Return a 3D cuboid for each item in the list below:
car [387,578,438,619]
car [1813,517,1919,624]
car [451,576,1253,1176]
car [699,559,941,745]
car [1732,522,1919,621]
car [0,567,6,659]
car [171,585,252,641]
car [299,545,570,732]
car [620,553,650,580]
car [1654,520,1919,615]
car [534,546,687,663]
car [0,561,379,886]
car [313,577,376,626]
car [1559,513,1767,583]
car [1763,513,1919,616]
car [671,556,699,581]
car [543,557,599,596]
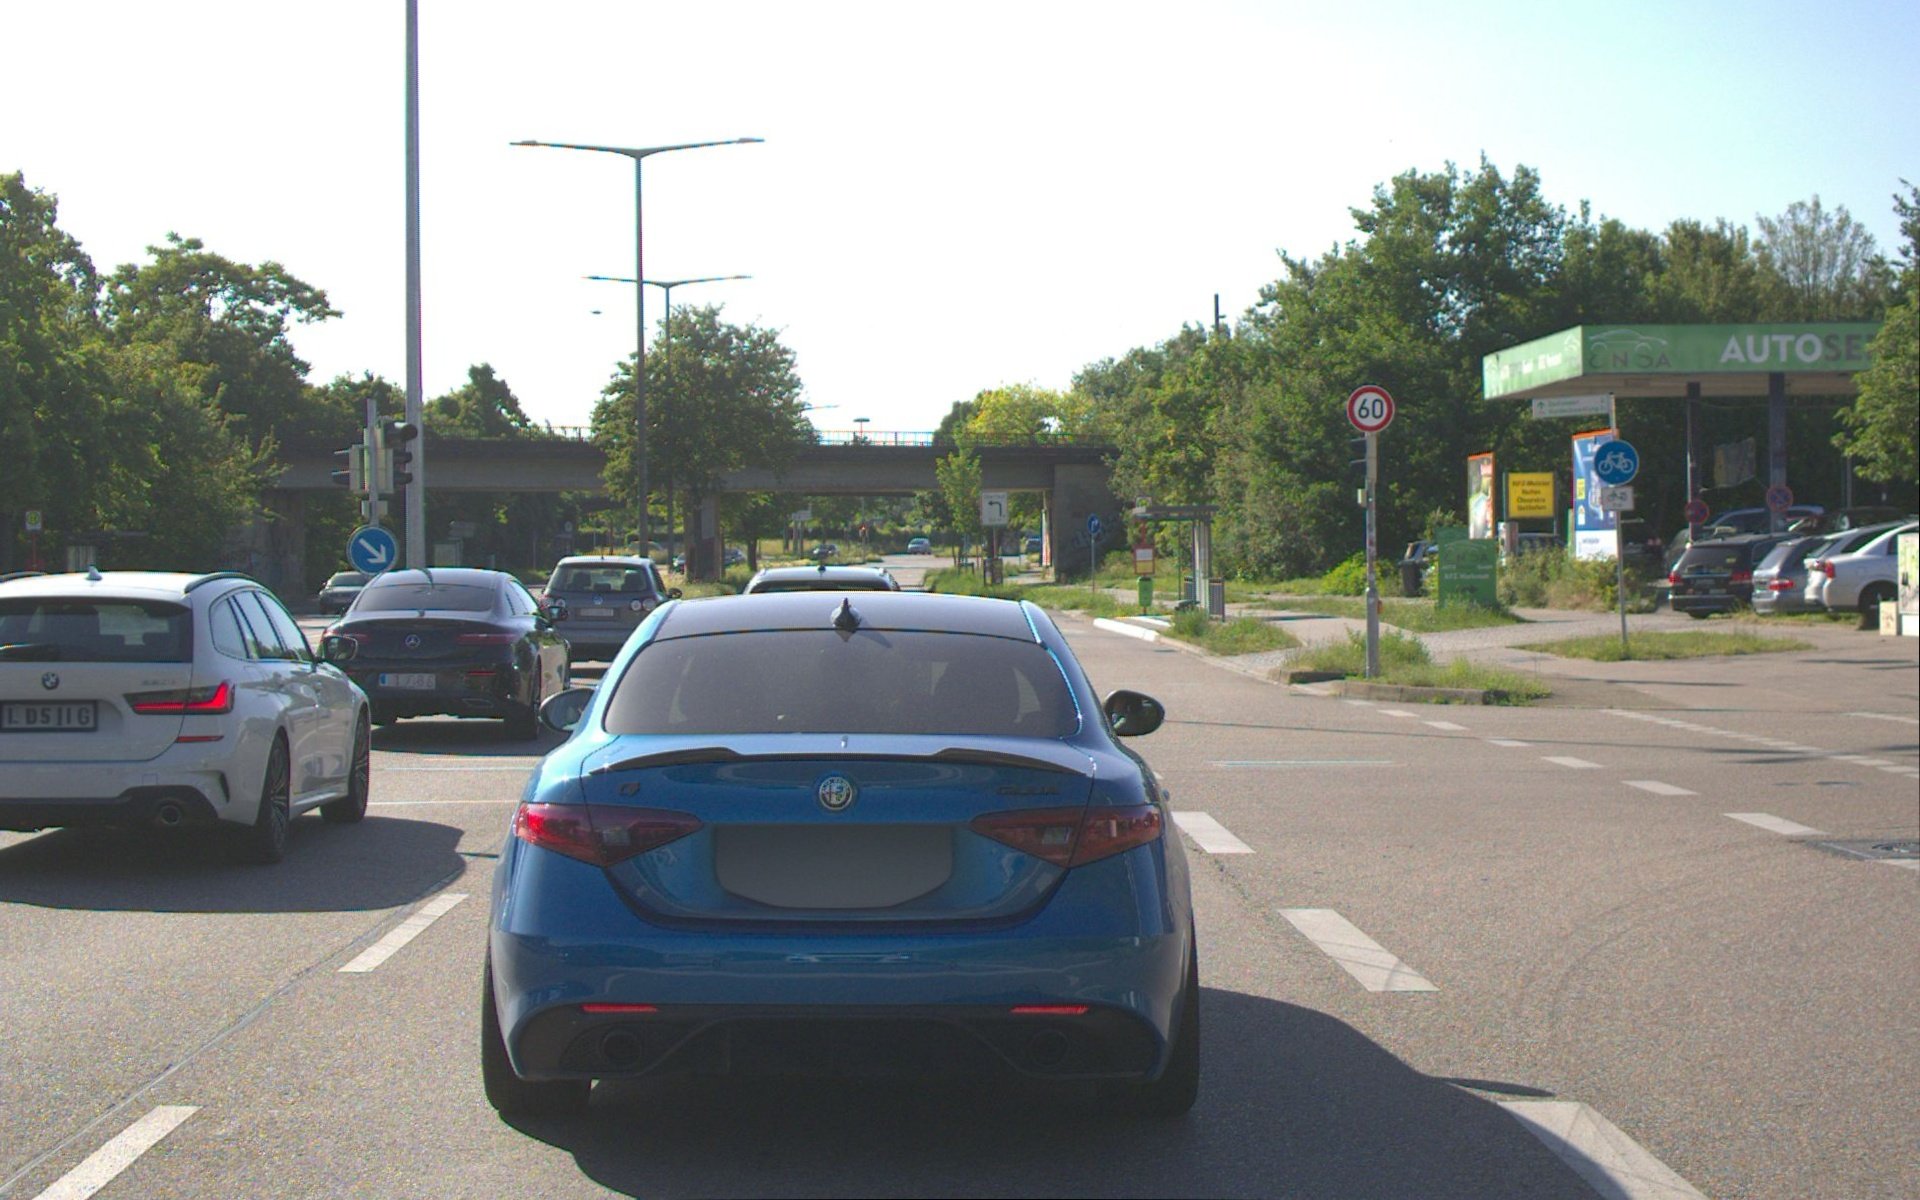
[{"bbox_3d":[-22.579,-0.067,141.818,1.609,1.641,3.463,1,0,-1],"label":"car"},{"bbox_3d":[14.668,-0.489,49.077,4.489,1.449,1.858,-2,0,1],"label":"car"},{"bbox_3d":[-0.329,0.656,10.413,1.895,1.413,4.403,1,0,-2],"label":"car"},{"bbox_3d":[-1.157,0.397,28.781,1.850,1.413,4.403,1,0,-2],"label":"car"},{"bbox_3d":[14.772,-0.497,54.758,4.489,1.449,1.858,-2,0,1],"label":"car"},{"bbox_3d":[-17.846,0.267,58.489,1.988,1.624,4.478,-2,0,-1],"label":"car"},{"bbox_3d":[-21.406,0.353,98.398,1.615,1.554,3.358,1,0,-1],"label":"car"},{"bbox_3d":[-4.489,0.305,29.947,1.796,1.485,4.476,1,0,-2],"label":"car"},{"bbox_3d":[-20.228,-2.091,214.027,1.571,1.612,4.000,1,0,-1],"label":"car"},{"bbox_3d":[14.277,-0.559,58.550,4.489,1.449,1.858,-2,0,1],"label":"car"},{"bbox_3d":[-4.710,0.052,46.822,1.759,1.485,4.403,1,0,-2],"label":"car"},{"bbox_3d":[-4.259,0.560,18.074,1.785,1.485,4.403,1,0,-2],"label":"car"},{"bbox_3d":[-21.423,0.043,119.764,1.609,1.641,3.463,1,0,-1],"label":"car"},{"bbox_3d":[16.687,-1.231,81.793,4.551,1.485,1.765,-2,0,1],"label":"car"},{"bbox_3d":[14.577,-0.588,51.794,4.489,1.449,1.858,-2,0,1],"label":"car"},{"bbox_3d":[-18.550,-2.112,231.963,1.571,1.612,4.000,1,0,-1],"label":"car"},{"bbox_3d":[-15.622,-0.937,138.131,1.759,1.485,4.478,-2,0,-1],"label":"car"}]
